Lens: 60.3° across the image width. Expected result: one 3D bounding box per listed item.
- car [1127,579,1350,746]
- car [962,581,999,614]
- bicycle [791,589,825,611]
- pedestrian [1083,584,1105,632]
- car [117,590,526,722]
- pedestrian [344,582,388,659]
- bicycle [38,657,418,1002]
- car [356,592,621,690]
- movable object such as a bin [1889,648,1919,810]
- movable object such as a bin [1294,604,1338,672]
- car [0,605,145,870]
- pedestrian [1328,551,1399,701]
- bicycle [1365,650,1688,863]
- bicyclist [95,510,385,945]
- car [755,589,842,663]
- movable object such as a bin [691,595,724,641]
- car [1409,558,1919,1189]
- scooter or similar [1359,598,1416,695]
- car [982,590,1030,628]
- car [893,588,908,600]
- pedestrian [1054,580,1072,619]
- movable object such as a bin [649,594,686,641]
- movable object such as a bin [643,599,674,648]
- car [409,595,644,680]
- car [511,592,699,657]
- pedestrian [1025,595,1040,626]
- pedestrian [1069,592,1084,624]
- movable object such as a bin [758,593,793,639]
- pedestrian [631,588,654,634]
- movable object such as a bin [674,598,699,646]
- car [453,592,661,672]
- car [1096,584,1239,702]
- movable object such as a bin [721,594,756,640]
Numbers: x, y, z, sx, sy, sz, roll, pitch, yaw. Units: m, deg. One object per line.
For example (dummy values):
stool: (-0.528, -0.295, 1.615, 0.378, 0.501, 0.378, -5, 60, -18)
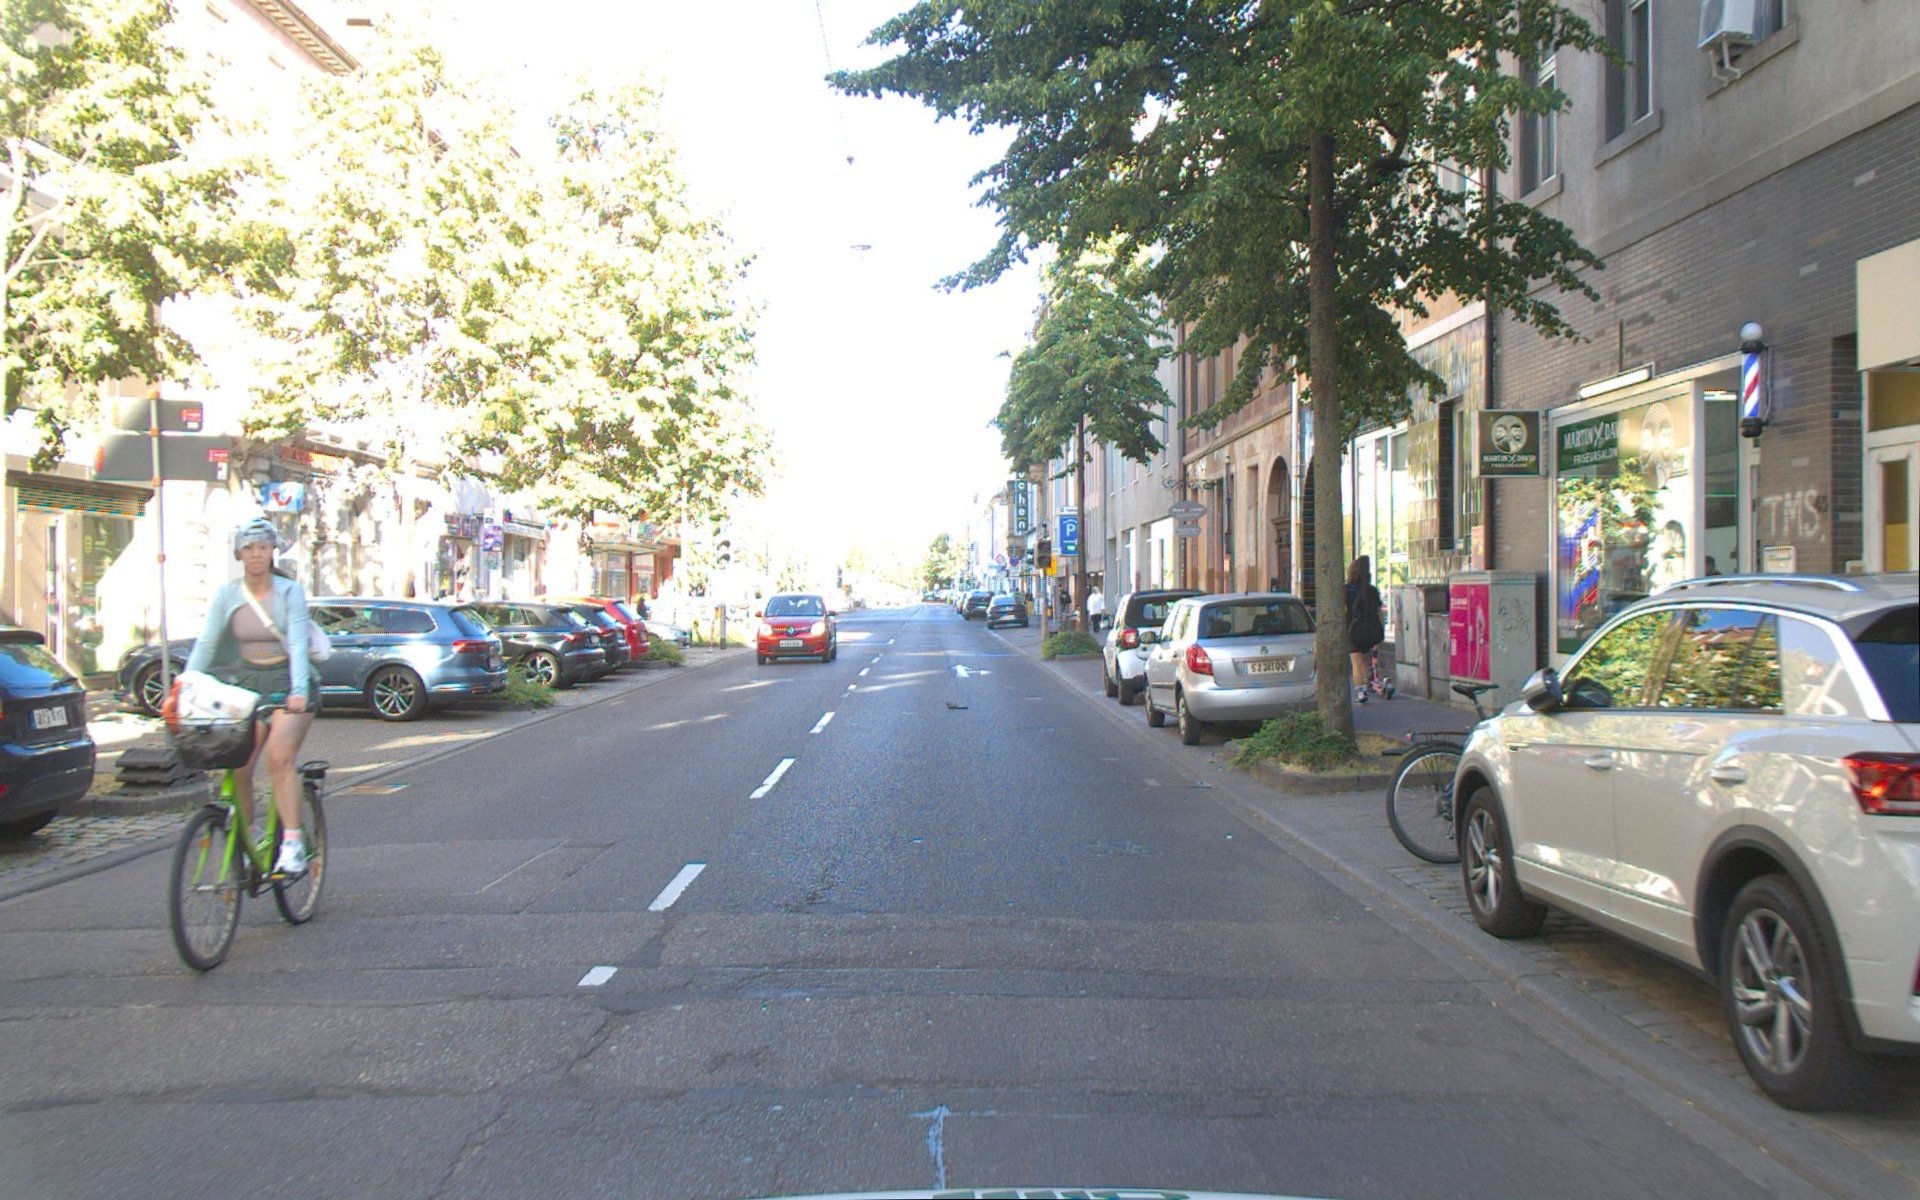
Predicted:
car: (2.966, 0.608, 18.465, 1.581, 1.555, 4.233, -3, 0, -2)
car: (1.141, -0.147, 93.674, 1.933, 1.755, 4.823, 1, 0, -1)
bicycle: (-14.316, 0.030, 155.465, 3.054, 2.049, 0.909, 0, 0, 8)
pedestrian: (4.560, 0.280, 56.242, 0.569, 1.586, 1.020, -3, 0, -2)
car: (-7.901, 0.675, 20.783, 4.403, 1.484, 1.789, 1, 0, -3)
pedestrian: (-11.275, 0.386, 31.414, 0.497, 1.433, 0.825, 1, 1, 3)
bicycle: (-3.089, 0.892, 7.267, 0.710, 1.189, 2.197, 0, 0, -1)
car: (-7.705, 0.648, 27.269, 3.838, 1.511, 1.771, 1, 0, 0)
movable object such as a bin: (6.101, 0.788, 10.074, 0.512, 0.973, 0.655, -1, 0, 0)
movable object such as a bin: (5.694, 0.602, 26.474, 0.511, 1.058, 0.722, -2, 0, 0)
car: (-7.223, 0.777, 10.017, 3.709, 1.484, 1.777, 0, 0, -9)
pedestrian: (4.969, 0.311, 20.387, 0.610, 1.796, 0.771, -2, 0, 0)
bicycle: (3.241, 0.881, 9.541, 1.590, 1.030, 0.611, -5, 0, -3)
bicyclist: (-3.086, 0.502, 7.221, 0.710, 1.730, 1.282, 0, 0, -1)
car: (-3.640, 0.550, 37.807, 1.624, 1.562, 3.760, -2, 0, -1)
movable object such as a bin: (-8.361, 0.583, 54.740, 0.944, 1.497, 1.143, 0, 0, -2)
car: (3.240, 0.644, 6.141, 1.845, 1.553, 4.232, -2, 0, -2)
scooter or similar: (5.544, 0.583, 21.507, 0.391, 1.208, 1.168, -2, 0, 0)
car: (2.036, 0.369, 74.076, 1.879, 1.504, 4.963, -4, 0, -1)
car: (-8.800, -0.894, 244.902, 1.952, 1.802, 4.000, 1, 1, 0)
pedestrian: (4.538, -0.021, 72.957, 0.678, 1.664, 0.889, -2, 0, -2)
movable object such as a bin: (-9.654, 0.567, 54.631, 1.021, 1.497, 1.143, -1, 0, -2)
movable object such as a bin: (-8.645, 0.669, 47.483, 0.739, 1.364, 0.805, -1, 0, -2)
car: (-7.797, 0.661, 29.998, 3.762, 1.454, 1.789, 1, 0, 0)
car: (-8.509, 0.580, 39.819, 4.116, 1.494, 1.740, 1, 0, 1)
pedestrian: (4.026, 0.570, 91.750, 0.784, 1.704, 0.589, -2, 0, 2)
pedestrian: (3.969, 0.262, 56.184, 0.385, 1.051, 0.739, -3, 0, -2)
movable object such as a bin: (-6.102, 0.521, 54.778, 1.021, 1.497, 1.452, -1, 0, -2)
pedestrian: (-11.652, 0.394, 60.697, 0.651, 1.688, 1.036, 0, 0, -2)
movable object such as a bin: (-7.866, 0.631, 47.601, 0.621, 1.364, 0.805, -1, 0, -2)
car: (-7.880, 0.607, 32.565, 3.672, 1.494, 1.739, 1, 0, -2)
car: (2.977, 0.584, 24.259, 1.581, 1.555, 3.059, -2, 0, -2)
movable object such as a bin: (-7.338, 0.540, 54.775, 1.021, 1.497, 1.143, -1, 0, -2)
